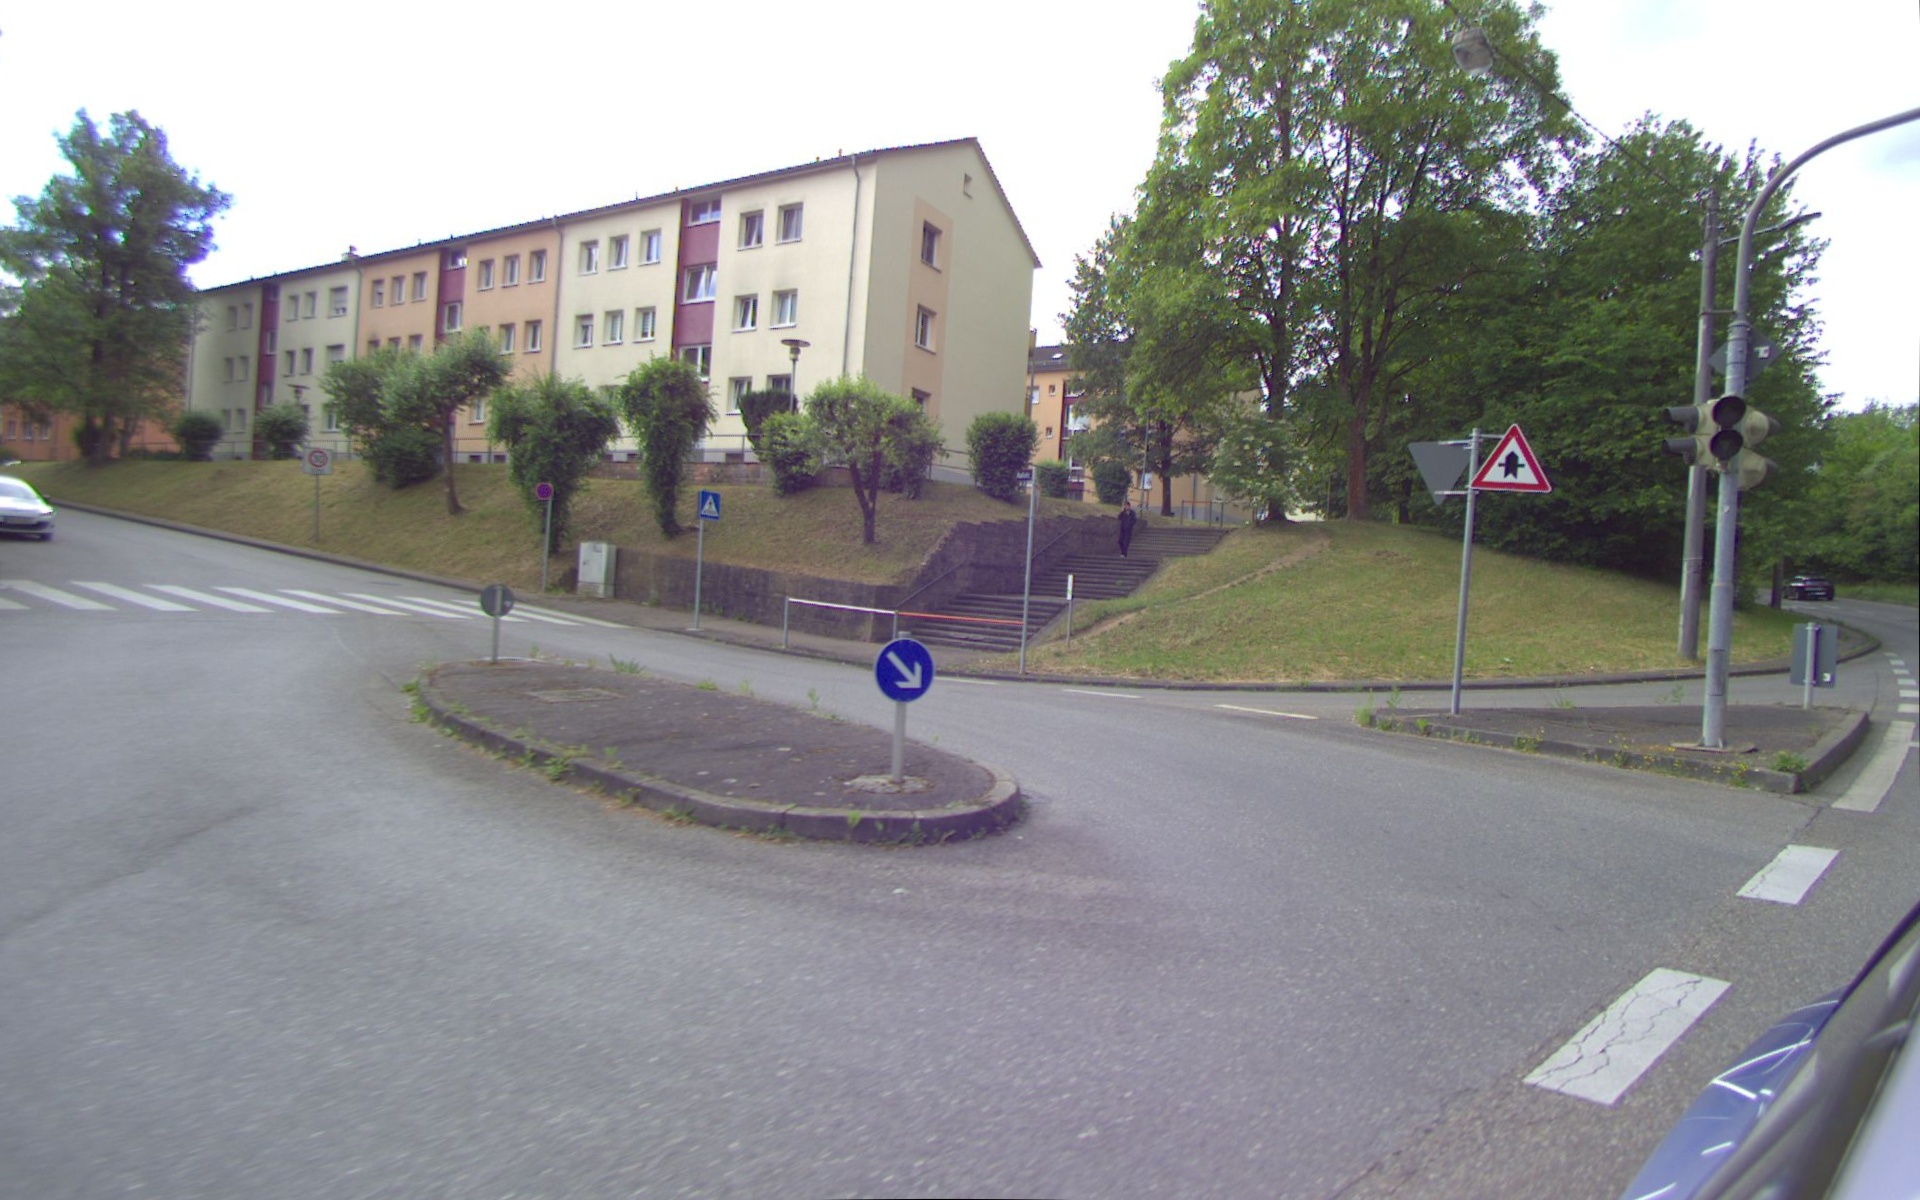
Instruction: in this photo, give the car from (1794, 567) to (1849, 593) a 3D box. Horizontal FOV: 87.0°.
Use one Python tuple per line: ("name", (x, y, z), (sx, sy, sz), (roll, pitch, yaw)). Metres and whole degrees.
("car", (52.121, -1.244, 61.284), (1.794, 1.452, 4.609), (-1, 1, 31))
